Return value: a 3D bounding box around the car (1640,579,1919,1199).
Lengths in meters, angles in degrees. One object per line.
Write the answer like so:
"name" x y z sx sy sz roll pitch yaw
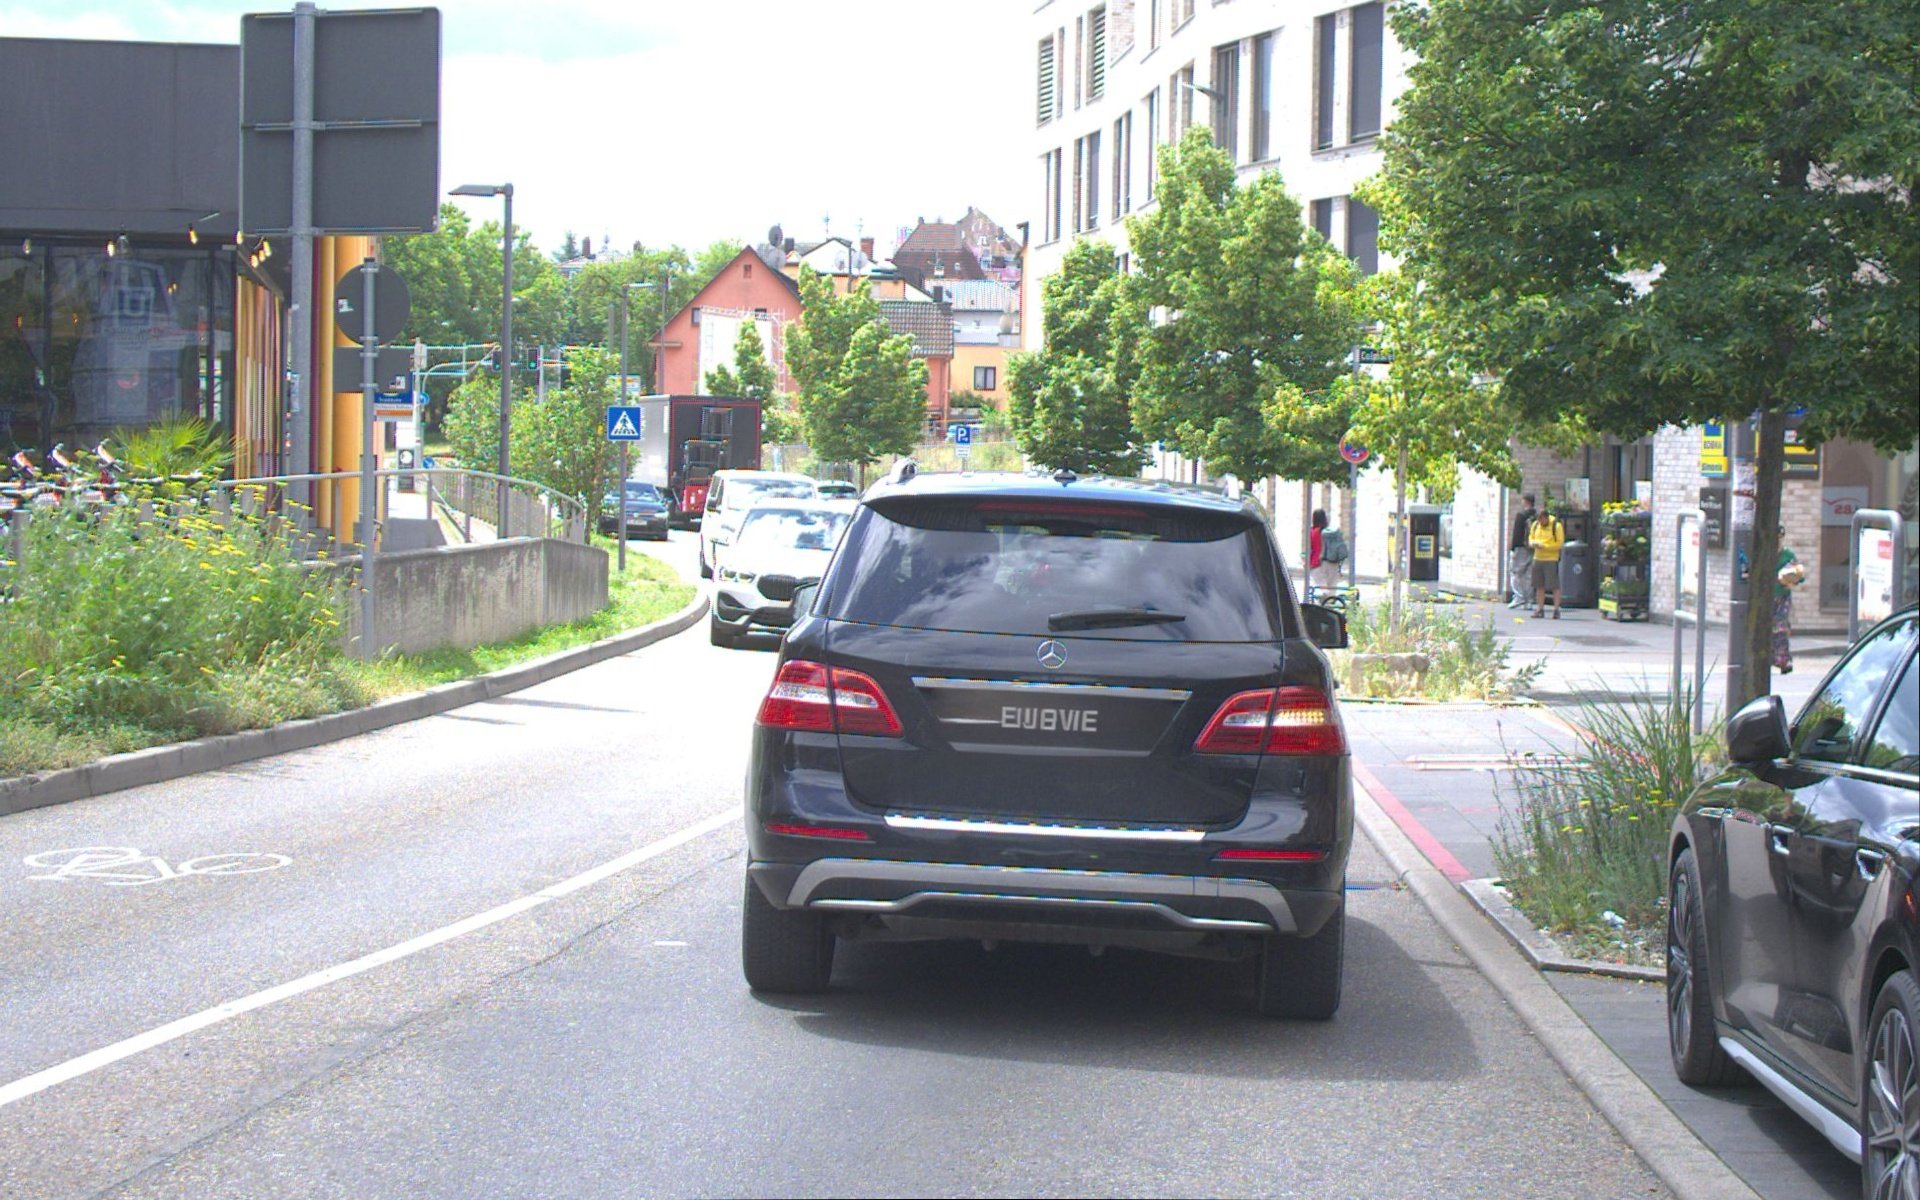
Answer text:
"car" 2.788 0.683 7.881 1.856 1.401 4.374 0 1 4

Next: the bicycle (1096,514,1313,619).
"bicycle" 3.525 -0.488 49.696 3.059 1.481 0.710 0 1 -2

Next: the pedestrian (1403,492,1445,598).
"pedestrian" 7.437 -0.882 55.136 0.559 1.677 0.568 1 1 0

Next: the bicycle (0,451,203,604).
"bicycle" -6.382 -0.532 25.092 1.568 1.087 0.578 1 1 3

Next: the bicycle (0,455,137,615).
"bicycle" -6.446 -0.451 23.359 1.568 1.065 0.539 1 1 3

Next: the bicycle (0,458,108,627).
"bicycle" -6.461 -0.386 22.590 1.568 1.087 0.578 1 1 3

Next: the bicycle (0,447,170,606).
"bicycle" -6.419 -0.524 24.209 1.568 1.087 0.578 1 1 3

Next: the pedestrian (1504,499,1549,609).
"pedestrian" 8.692 -0.709 52.723 0.559 1.677 0.568 1 1 0

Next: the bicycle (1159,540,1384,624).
"bicycle" 4.346 -0.253 48.071 3.059 1.142 0.710 0 1 -2

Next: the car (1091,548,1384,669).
"car" 3.463 0.071 42.429 1.612 1.378 3.827 2 2 42

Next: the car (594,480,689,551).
"car" -7.940 -2.108 85.472 1.840 1.602 4.002 3 2 -12

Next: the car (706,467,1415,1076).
"car" 0.362 0.463 12.313 2.027 1.721 4.433 2 1 2

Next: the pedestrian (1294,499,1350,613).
"pedestrian" 5.342 -0.655 50.780 0.662 1.677 0.568 1 1 -9

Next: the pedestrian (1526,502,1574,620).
"pedestrian" 8.572 -0.569 49.943 0.559 1.685 0.639 1 1 0

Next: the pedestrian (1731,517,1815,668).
"pedestrian" 8.501 -0.085 35.969 0.711 1.558 0.568 1 1 0

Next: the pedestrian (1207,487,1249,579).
"pedestrian" 4.935 -1.238 63.276 0.558 1.677 0.568 0 1 -19

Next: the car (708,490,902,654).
"car" -1.648 -0.345 37.742 1.840 1.602 4.000 3 2 0

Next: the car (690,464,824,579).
"car" -3.620 -1.405 60.517 1.840 1.852 4.499 3 2 -9

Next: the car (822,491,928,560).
"car" -1.788 -1.553 71.065 1.608 1.378 3.838 0 2 -10

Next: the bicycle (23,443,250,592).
"bicycle" -6.225 -0.625 26.015 1.568 1.087 0.578 1 1 3
